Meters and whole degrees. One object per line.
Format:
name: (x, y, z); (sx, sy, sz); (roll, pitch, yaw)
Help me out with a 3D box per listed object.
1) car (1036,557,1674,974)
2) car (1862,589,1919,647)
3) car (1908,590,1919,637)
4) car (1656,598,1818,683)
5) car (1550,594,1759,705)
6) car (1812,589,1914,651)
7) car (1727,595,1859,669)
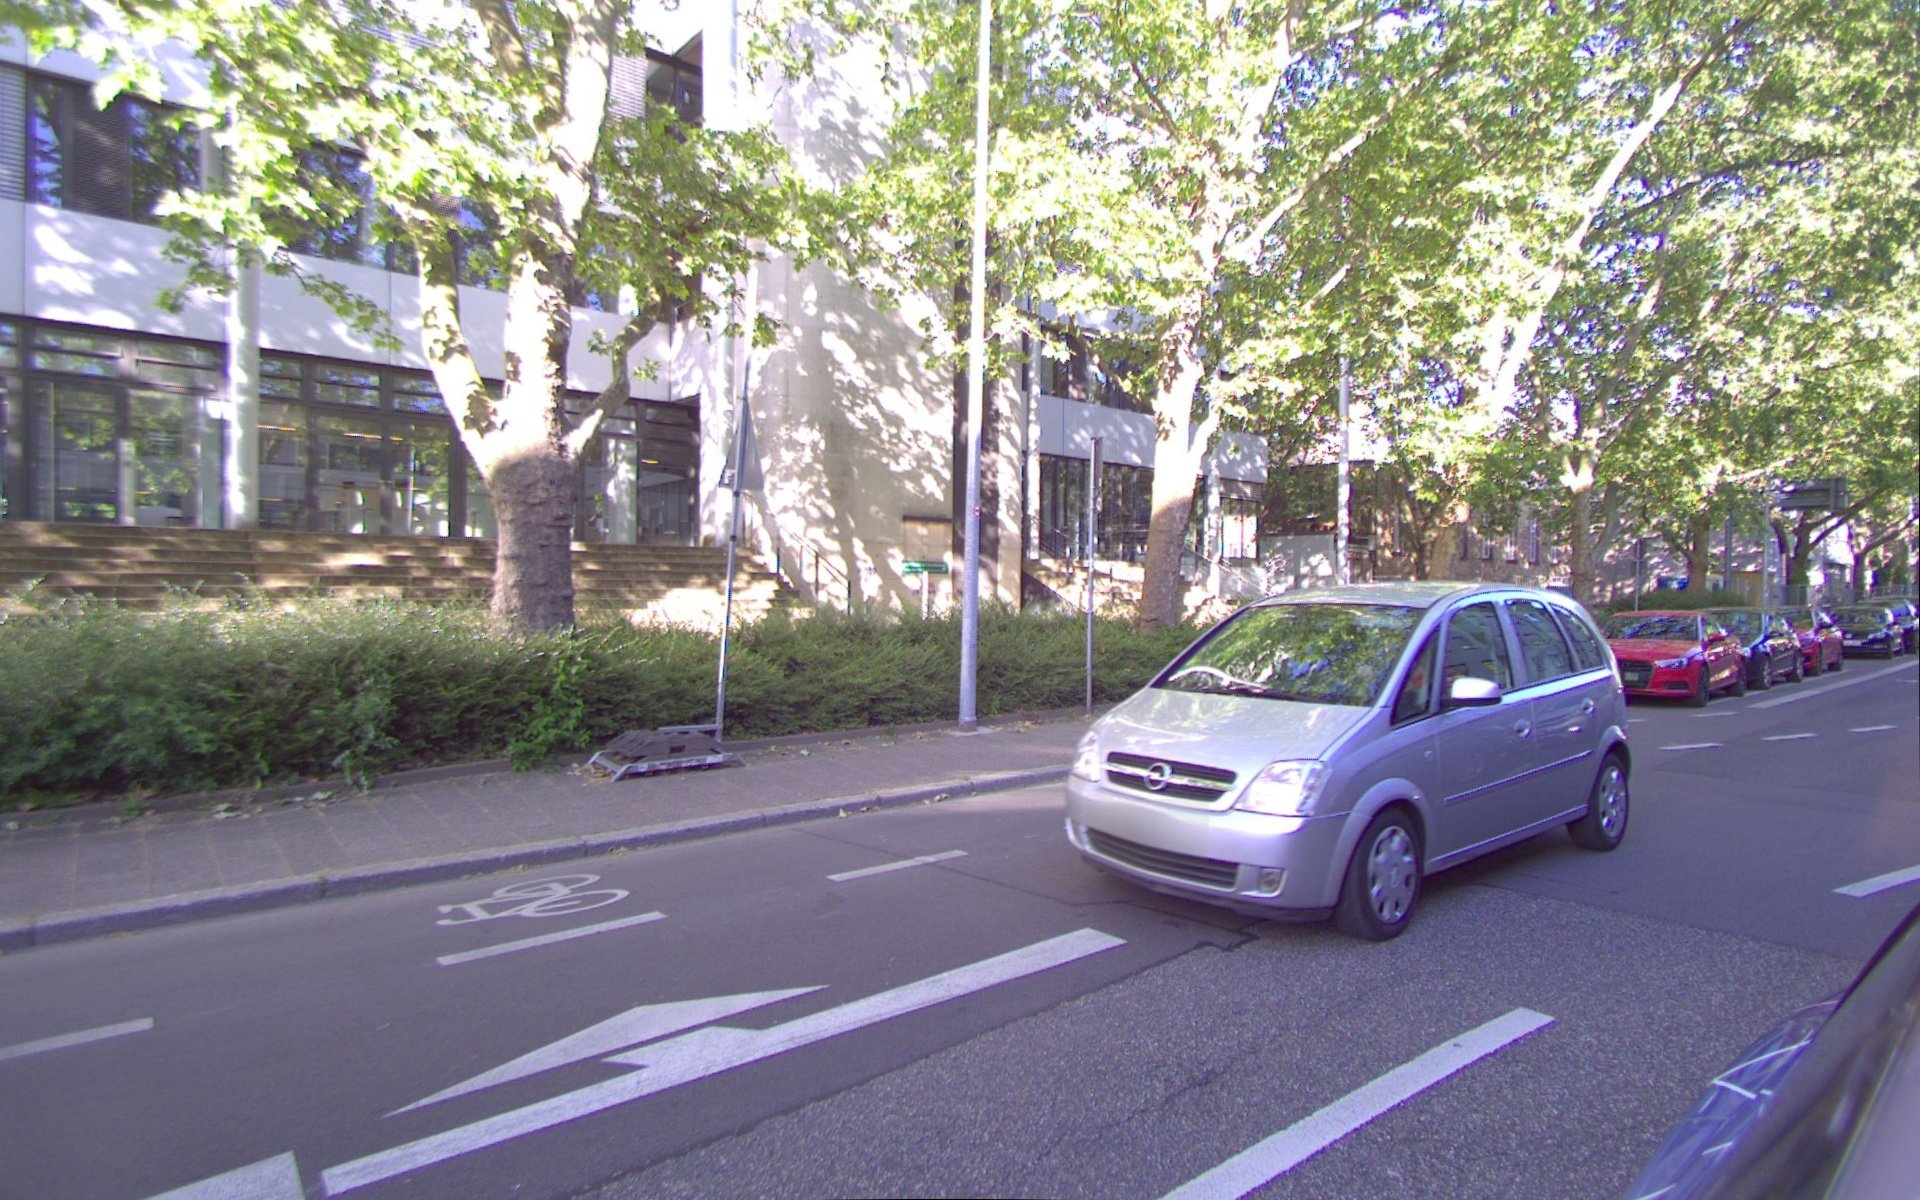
car: (2.412, 0.632, 5.786); (3.788, 1.623, 1.706); (0, 1, -38)
car: (29.739, 0.527, 31.823); (3.840, 1.708, 1.633); (0, 1, -42)
car: (38.697, 0.528, 39.807); (3.829, 1.818, 1.739); (0, 1, -42)
car: (15.010, 0.714, 19.475); (4.022, 1.472, 1.739); (0, -1, -42)
car: (11.181, 0.698, 16.195); (4.071, 1.548, 1.827); (0, -1, -42)
car: (25.824, 0.515, 28.909); (4.022, 1.653, 1.739); (0, 1, -42)
car: (18.638, 0.664, 22.589); (3.851, 1.511, 1.679); (0, -1, -42)
